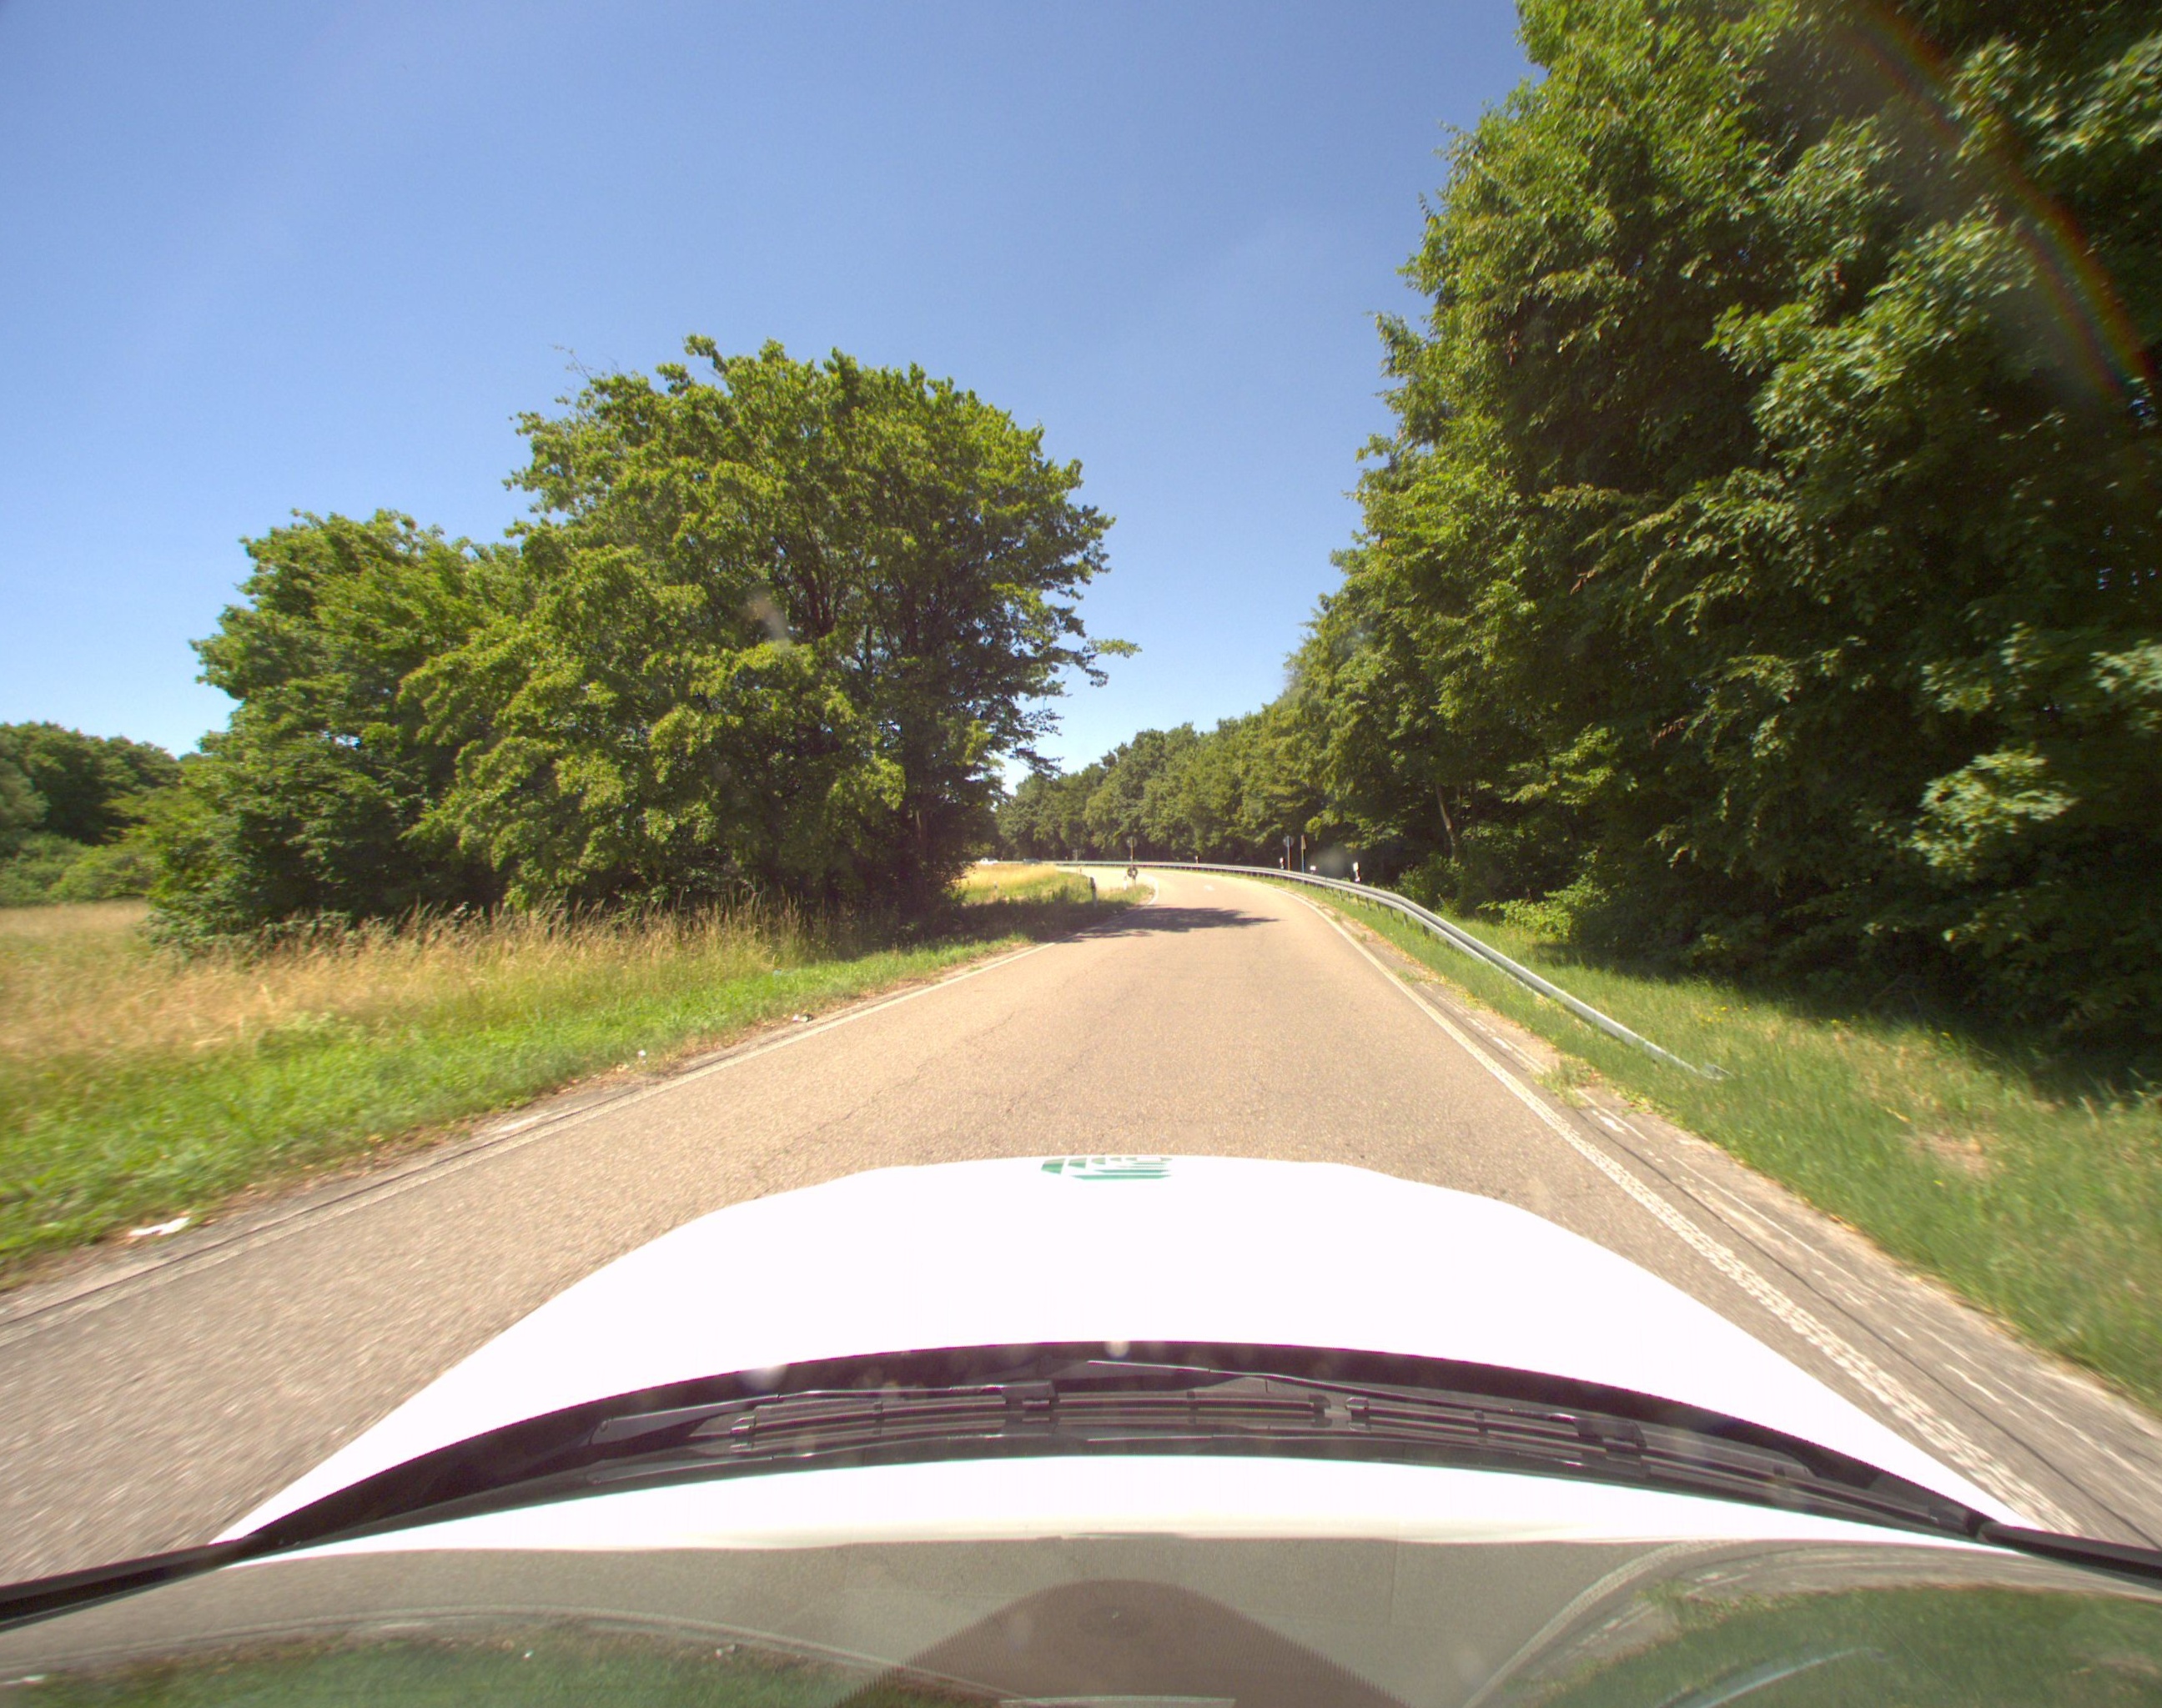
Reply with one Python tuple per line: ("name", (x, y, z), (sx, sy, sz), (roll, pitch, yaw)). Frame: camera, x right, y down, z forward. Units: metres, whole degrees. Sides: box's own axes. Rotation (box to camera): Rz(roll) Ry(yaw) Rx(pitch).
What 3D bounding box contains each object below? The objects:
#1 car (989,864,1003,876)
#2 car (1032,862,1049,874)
("car", (-13.305, 2.527, 127.409), (1.819, 1.590, 4.210), (-5, -1, -5))
("car", (-5.619, 1.912, 111.993), (1.802, 1.506, 4.642), (-4, 0, -10))
